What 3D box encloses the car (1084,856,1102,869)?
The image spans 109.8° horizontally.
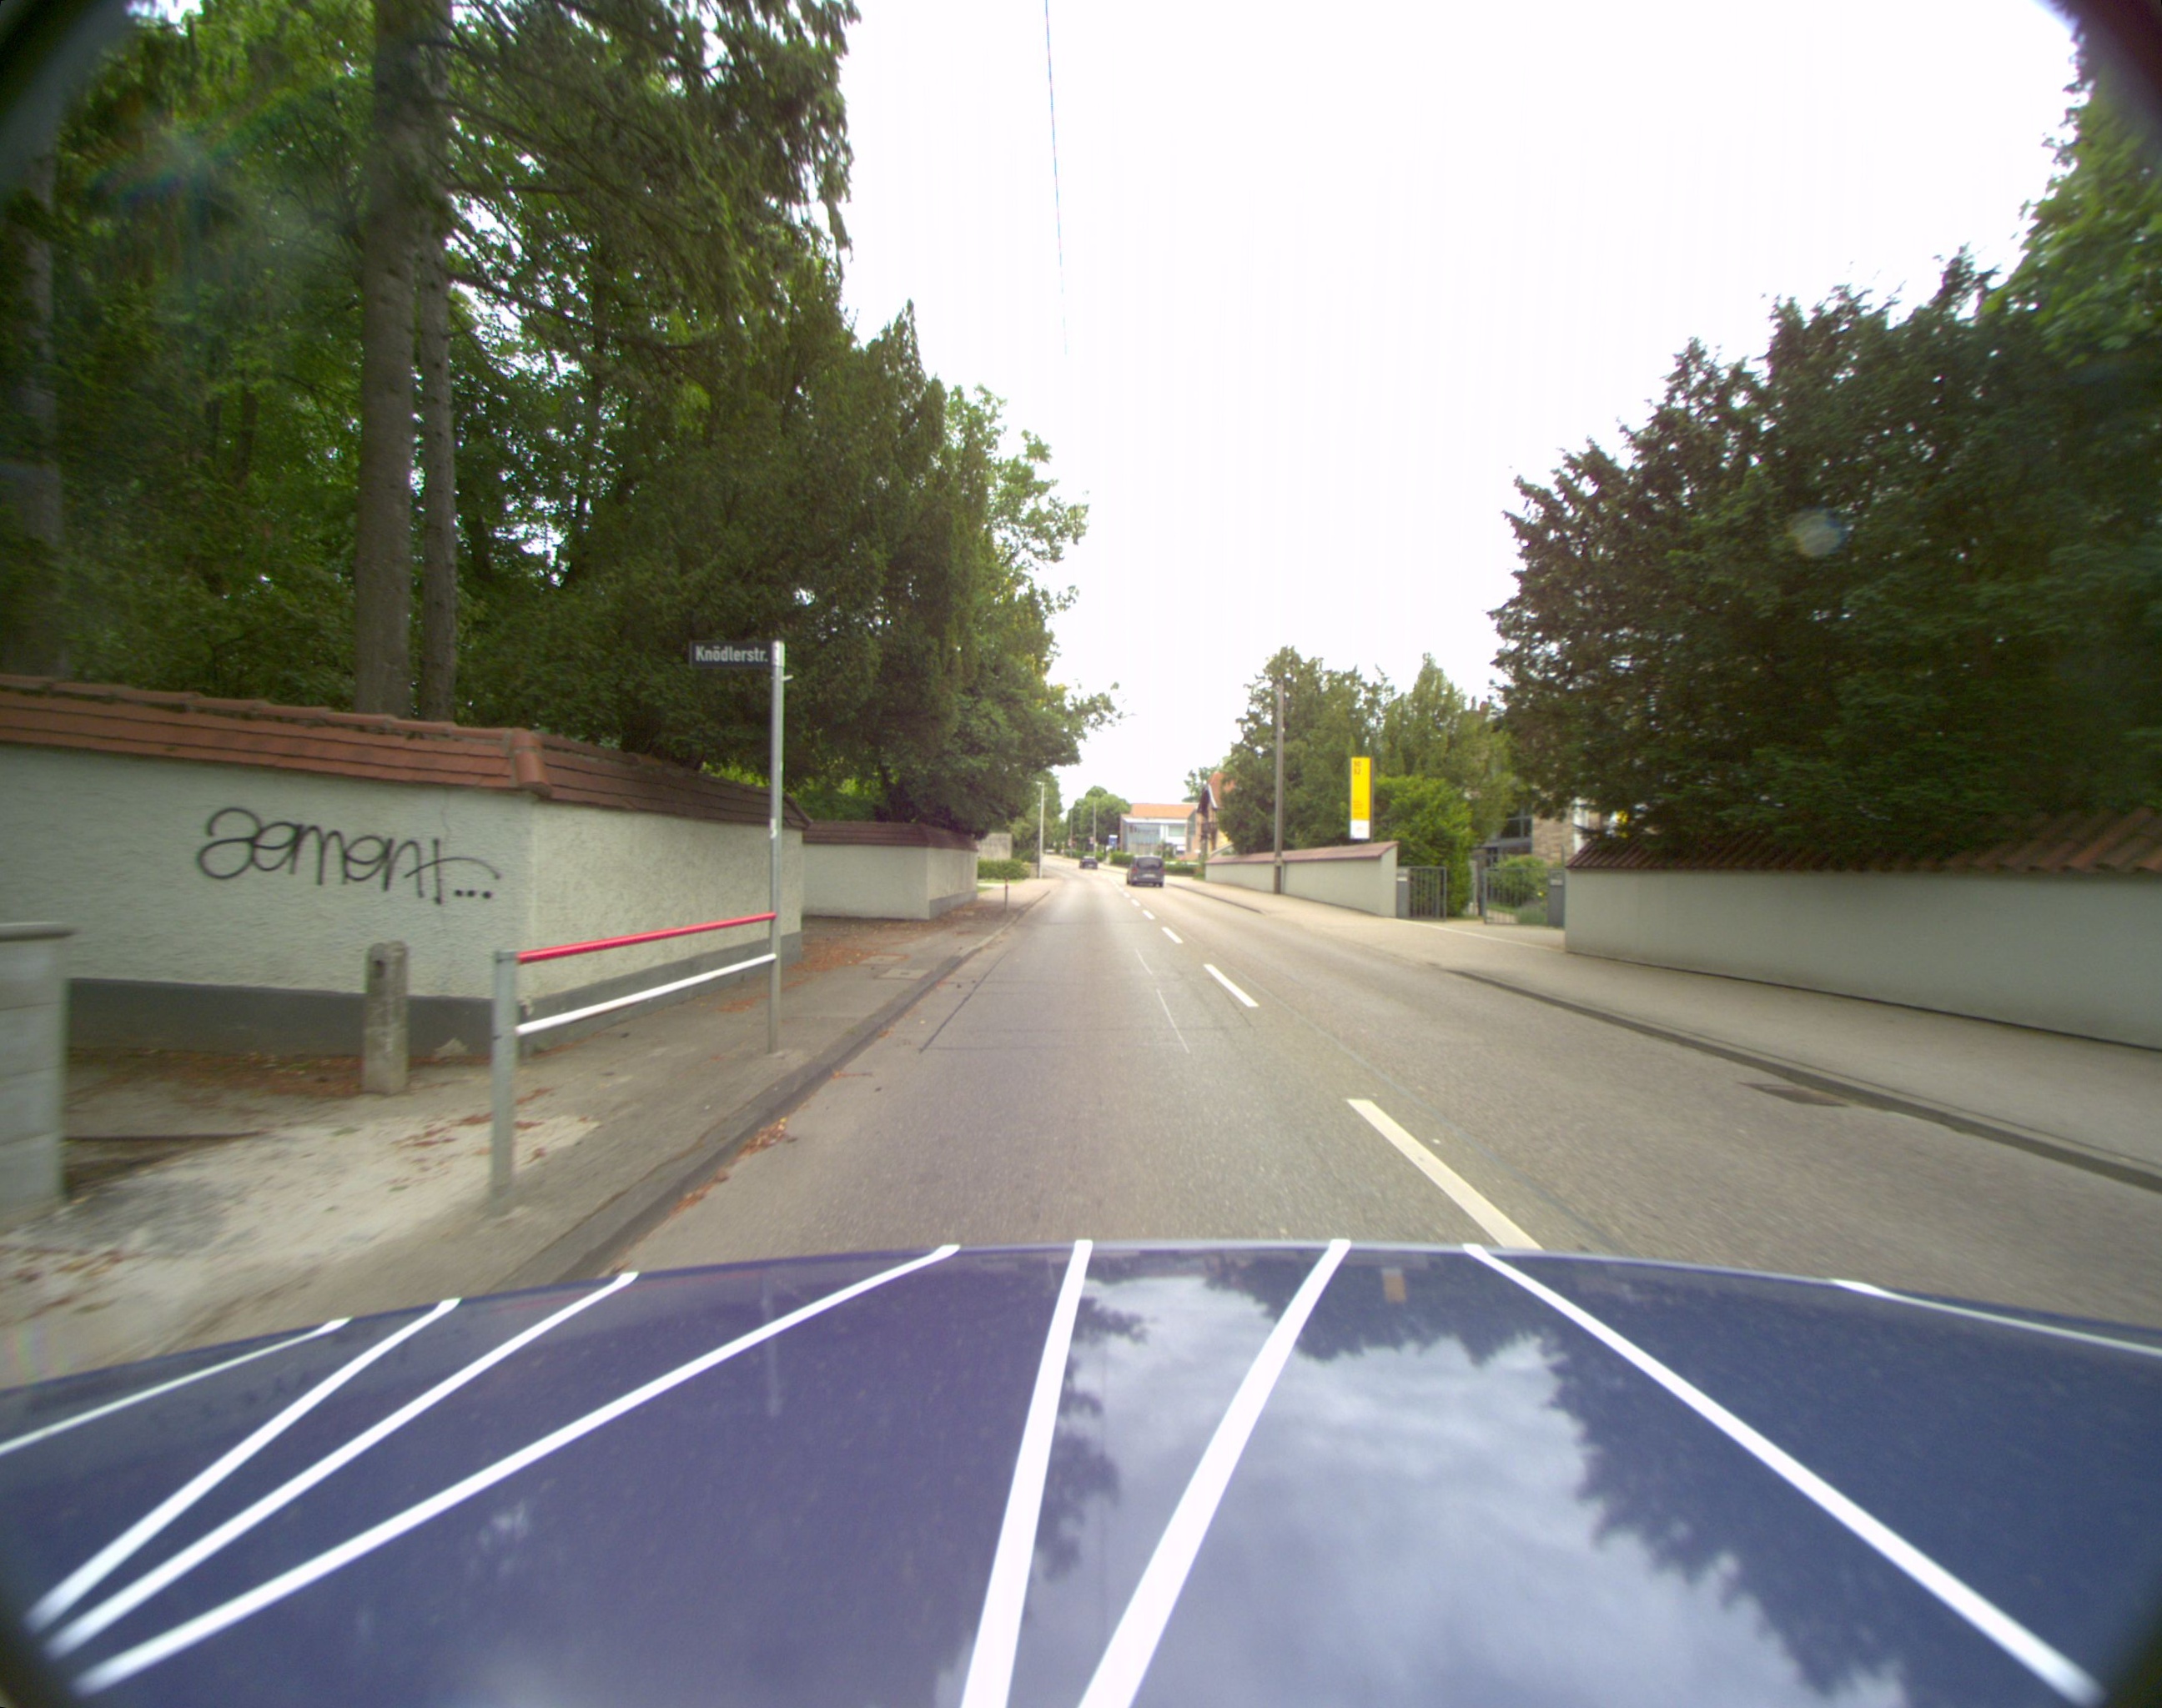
[{"bbox_3d":[1.344,0.918,85.973,1.790,1.420,3.999,2,0,-2],"label":"car"}]

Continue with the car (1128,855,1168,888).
[{"bbox_3d":[4.001,1.027,46.327,1.895,1.845,5.083,2,0,0],"label":"car"}]
